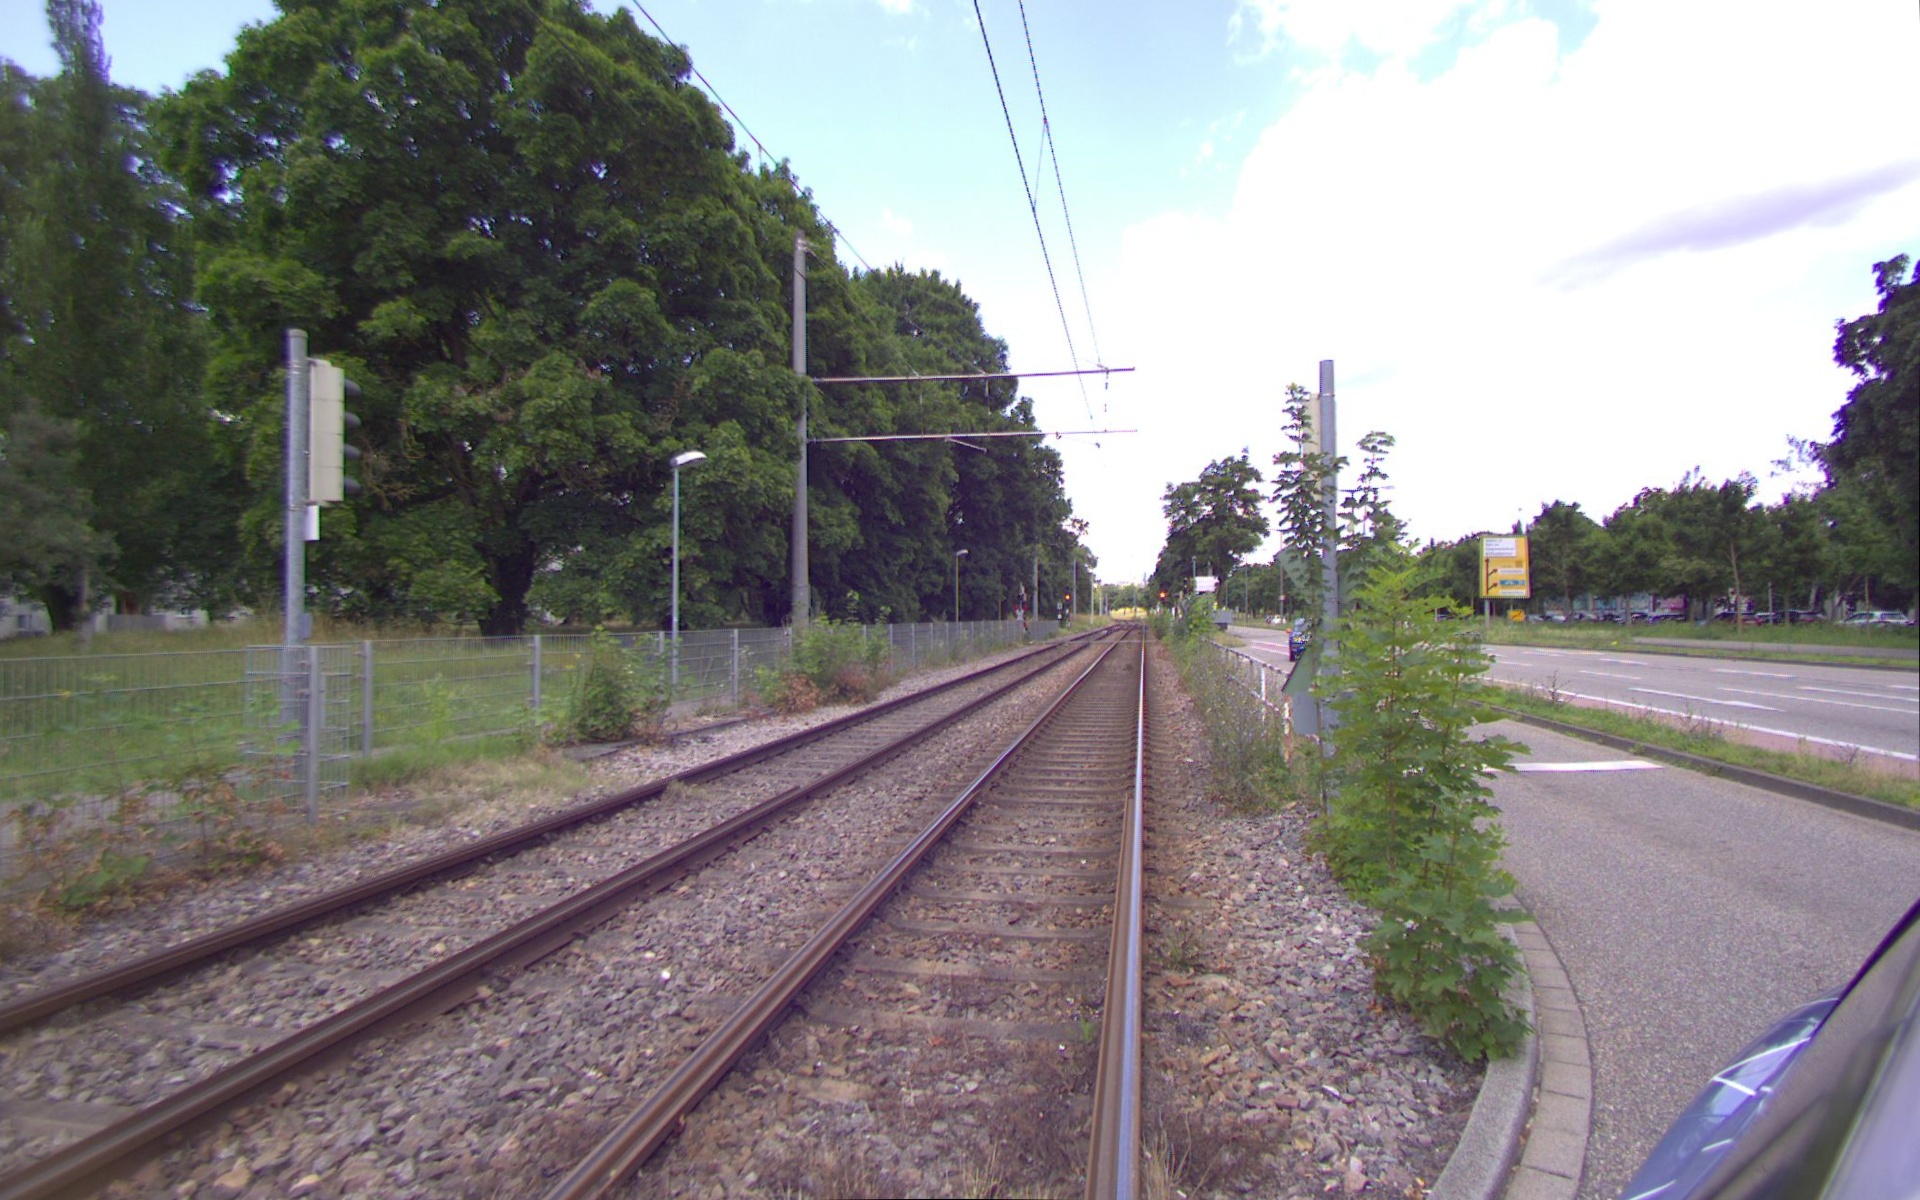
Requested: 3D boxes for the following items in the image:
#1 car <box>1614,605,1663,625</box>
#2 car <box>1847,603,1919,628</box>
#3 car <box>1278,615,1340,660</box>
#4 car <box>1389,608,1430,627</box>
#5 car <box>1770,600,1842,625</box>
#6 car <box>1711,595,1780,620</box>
[{"bbox_3d":[56.249,1.225,84.000,1.969,1.608,4.008,0,-1,11],"label":"car"},{"bbox_3d":[50.175,0.844,54.856,1.601,1.349,3.464,0,-1,11],"label":"car"},{"bbox_3d":[12.306,1.299,35.896,1.580,1.483,3.690,0,-1,11],"label":"car"},{"bbox_3d":[35.159,1.347,79.222,1.776,1.450,4.484,0,-1,9],"label":"car"},{"bbox_3d":[51.295,0.756,61.448,1.704,1.429,3.852,0,-1,11],"label":"car"},{"bbox_3d":[52.470,0.539,67.697,1.969,1.608,4.008,0,-1,11],"label":"car"}]
